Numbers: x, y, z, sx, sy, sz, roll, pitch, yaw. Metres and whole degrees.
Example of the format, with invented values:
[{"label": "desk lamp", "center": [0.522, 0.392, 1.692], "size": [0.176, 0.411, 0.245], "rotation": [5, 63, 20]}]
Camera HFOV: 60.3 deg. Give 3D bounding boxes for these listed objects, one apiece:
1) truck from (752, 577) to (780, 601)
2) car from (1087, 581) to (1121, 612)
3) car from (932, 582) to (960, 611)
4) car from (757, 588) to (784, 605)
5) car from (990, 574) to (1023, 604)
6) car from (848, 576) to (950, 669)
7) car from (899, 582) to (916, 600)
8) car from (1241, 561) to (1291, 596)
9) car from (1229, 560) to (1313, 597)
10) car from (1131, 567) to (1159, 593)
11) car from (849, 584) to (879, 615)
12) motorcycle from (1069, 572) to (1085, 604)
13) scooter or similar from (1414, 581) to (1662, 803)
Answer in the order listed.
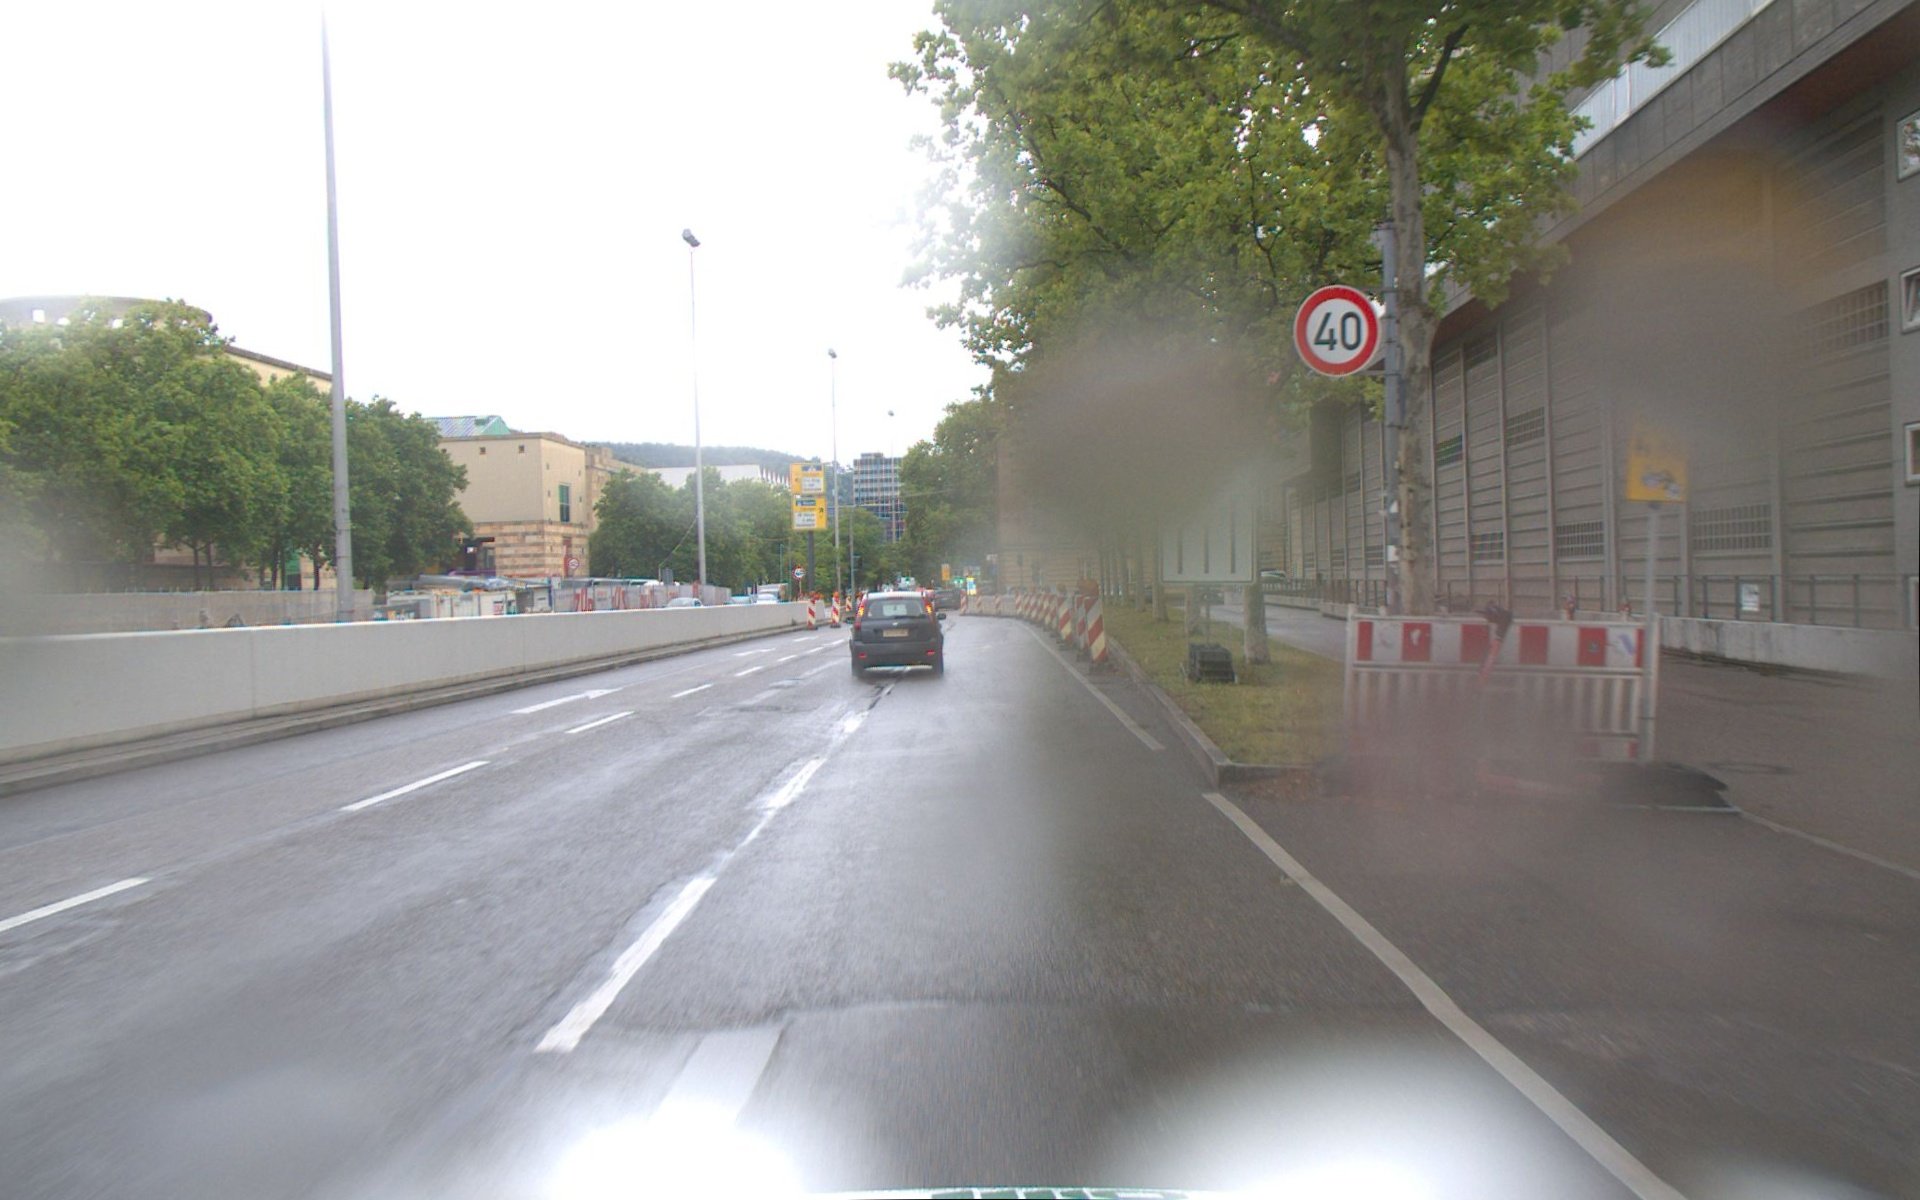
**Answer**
[{"label": "truck", "center": [-19.766, -1.111, 168.382], "size": [2.364, 2.380, 5.442], "rotation": [0, -1, -2]}, {"label": "car", "center": [8.697, -0.245, 99.748], "size": [1.951, 1.738, 4.003], "rotation": [-1, 1, 6]}, {"label": "car", "center": [-1.032, -0.265, 124.280], "size": [1.952, 2.048, 4.001], "rotation": [-1, 1, 1]}, {"label": "car", "center": [-14.157, -0.265, 123.565], "size": [1.593, 1.216, 3.405], "rotation": [0, 1, 1]}, {"label": "car", "center": [2.808, -0.699, 100.837], "size": [1.952, 1.738, 4.001], "rotation": [-1, 1, 1]}, {"label": "car", "center": [-1.120, 0.359, 29.820], "size": [1.637, 1.452, 3.756], "rotation": [-4, 1, -3]}, {"label": "car", "center": [-6.447, -1.101, 202.792], "size": [1.954, 2.049, 3.997], "rotation": [0, -1, -4]}, {"label": "car", "center": [17.176, -1.186, 92.942], "size": [1.952, 1.790, 5.097], "rotation": [-2, -1, 2]}, {"label": "car", "center": [15.965, -1.100, 85.017], "size": [3.905, 1.587, 1.933], "rotation": [-4, -2, 2]}, {"label": "car", "center": [13.522, -1.449, 121.259], "size": [1.951, 1.738, 4.002], "rotation": [-1, -1, 6]}, {"label": "car", "center": [-4.677, -0.017, 80.408], "size": [1.358, 1.410, 3.065], "rotation": [-3, 0, -3]}, {"label": "motorcycle", "center": [7.097, -0.739, 100.309], "size": [0.813, 1.862, 3.145], "rotation": [-2, 0, 5]}, {"label": "scooter or similar", "center": [3.618, 0.566, 10.421], "size": [1.327, 1.308, 0.619], "rotation": [2, -1, 2]}]
